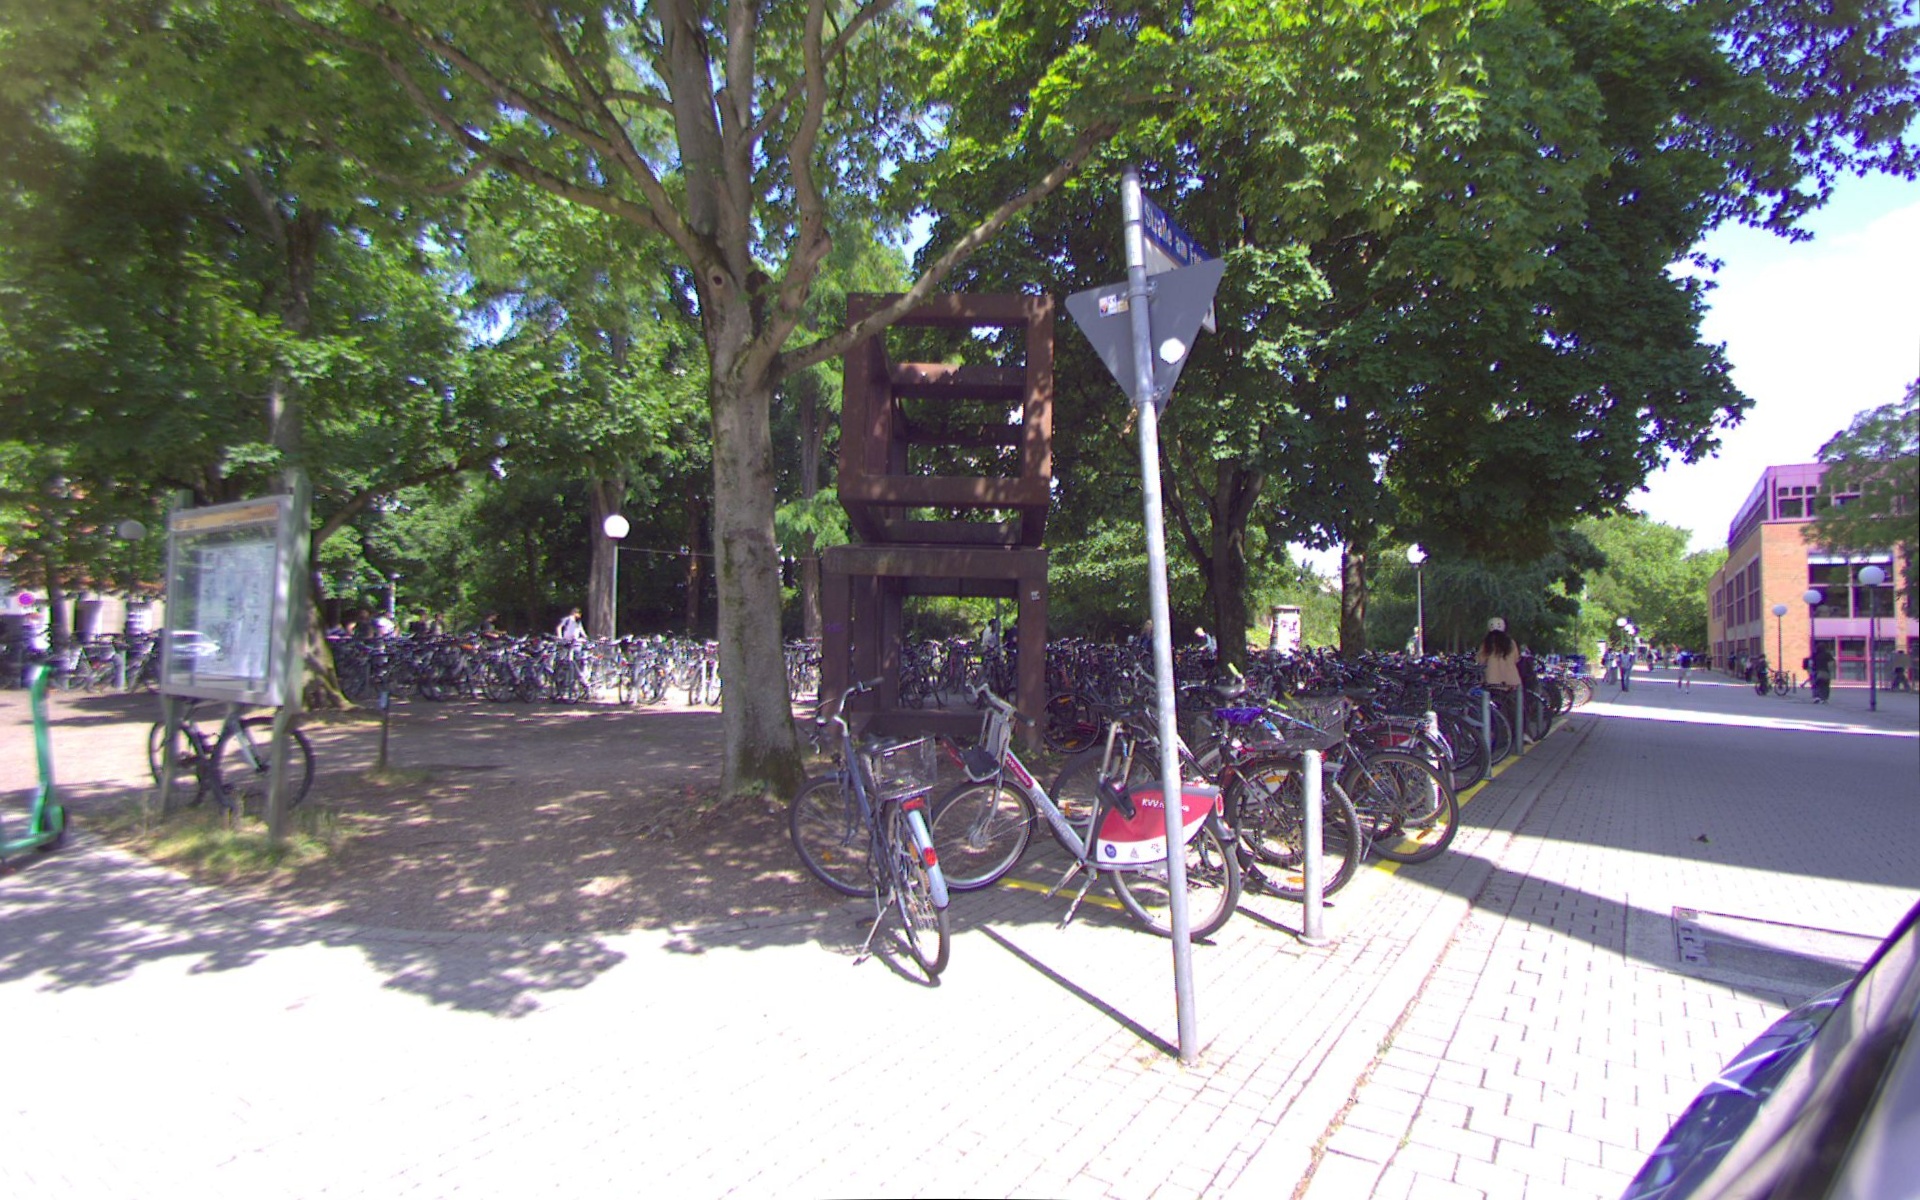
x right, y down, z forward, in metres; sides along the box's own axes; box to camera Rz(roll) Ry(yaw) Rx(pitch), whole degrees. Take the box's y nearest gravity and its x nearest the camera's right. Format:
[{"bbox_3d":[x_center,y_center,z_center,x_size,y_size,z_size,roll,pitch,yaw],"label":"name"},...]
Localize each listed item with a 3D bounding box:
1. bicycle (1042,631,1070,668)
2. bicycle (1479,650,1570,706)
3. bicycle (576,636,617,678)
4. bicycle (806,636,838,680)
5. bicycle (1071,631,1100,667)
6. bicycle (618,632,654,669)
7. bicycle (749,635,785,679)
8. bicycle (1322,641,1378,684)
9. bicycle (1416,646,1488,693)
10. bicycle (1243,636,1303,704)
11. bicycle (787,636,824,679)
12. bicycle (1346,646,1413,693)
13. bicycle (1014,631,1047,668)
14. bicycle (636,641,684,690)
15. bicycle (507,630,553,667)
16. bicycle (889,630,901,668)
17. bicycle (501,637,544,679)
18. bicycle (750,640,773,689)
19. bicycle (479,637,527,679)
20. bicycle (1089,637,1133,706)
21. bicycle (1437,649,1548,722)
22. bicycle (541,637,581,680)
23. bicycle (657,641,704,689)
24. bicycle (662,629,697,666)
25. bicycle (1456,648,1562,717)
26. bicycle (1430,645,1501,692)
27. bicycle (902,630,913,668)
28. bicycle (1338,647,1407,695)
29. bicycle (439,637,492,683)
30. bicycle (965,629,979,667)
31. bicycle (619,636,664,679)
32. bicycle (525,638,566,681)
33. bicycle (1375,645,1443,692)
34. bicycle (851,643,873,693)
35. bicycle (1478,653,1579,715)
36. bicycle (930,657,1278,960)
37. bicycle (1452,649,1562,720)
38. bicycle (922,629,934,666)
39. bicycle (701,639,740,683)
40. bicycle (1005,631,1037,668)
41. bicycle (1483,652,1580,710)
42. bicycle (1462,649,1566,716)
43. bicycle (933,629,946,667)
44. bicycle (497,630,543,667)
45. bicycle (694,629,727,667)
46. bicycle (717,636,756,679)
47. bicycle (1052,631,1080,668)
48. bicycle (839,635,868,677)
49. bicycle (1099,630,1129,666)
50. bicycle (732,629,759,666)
[{"bbox_3d":[2.990,1.534,31.703,0.341,1.107,1.614,0,-1,-14],"label":"bicycle"},{"bbox_3d":[12.020,1.656,21.595,1.674,1.098,0.473,1,-4,31],"label":"bicycle"},{"bbox_3d":[-9.141,1.414,25.475,0.469,0.991,1.905,0,-1,-4],"label":"bicycle"},{"bbox_3d":[-3.373,1.405,24.843,0.372,0.991,1.901,0,-1,5],"label":"bicycle"},{"bbox_3d":[3.933,1.526,31.832,0.341,1.107,1.614,0,-1,-14],"label":"bicycle"},{"bbox_3d":[-10.009,1.552,31.296,0.470,1.107,1.608,0,-1,6],"label":"bicycle"},{"bbox_3d":[-4.730,1.382,24.889,0.372,0.991,1.901,0,-1,5],"label":"bicycle"},{"bbox_3d":[10.529,1.679,27.374,0.468,1.098,1.691,4,-4,-16],"label":"bicycle"},{"bbox_3d":[12.166,1.698,25.060,0.469,1.098,1.690,4,-4,-23],"label":"bicycle"},{"bbox_3d":[5.742,1.257,18.627,0.405,1.185,1.846,1,-2,-4],"label":"bicycle"},{"bbox_3d":[-3.781,1.393,24.890,0.470,0.991,1.901,0,-1,5],"label":"bicycle"},{"bbox_3d":[10.402,1.709,25.145,0.469,1.098,1.690,4,-4,-23],"label":"bicycle"},{"bbox_3d":[2.197,1.539,31.691,0.341,1.107,1.614,1,-2,-22],"label":"bicycle"},{"bbox_3d":[-6.644,1.435,22.496,0.372,0.991,1.901,0,-1,5],"label":"bicycle"},{"bbox_3d":[-13.475,1.509,31.775,0.471,1.107,1.748,0,-1,9],"label":"bicycle"},{"bbox_3d":[-1.982,1.478,31.003,0.341,1.107,1.611,0,-1,-3],"label":"bicycle"},{"bbox_3d":[-11.032,1.437,25.573,0.371,0.991,1.905,0,-1,-4],"label":"bicycle"},{"bbox_3d":[-4.393,1.404,22.392,0.370,0.991,1.907,0,-1,-15],"label":"bicycle"},{"bbox_3d":[-11.469,1.433,25.435,0.469,0.991,1.905,0,-1,-4],"label":"bicycle"},{"bbox_3d":[2.755,1.285,18.598,0.405,1.185,1.846,1,-2,-4],"label":"bicycle"},{"bbox_3d":[9.197,1.464,17.500,1.674,1.144,0.449,1,-4,31],"label":"bicycle"},{"bbox_3d":[-9.847,1.433,25.030,0.371,0.991,1.905,0,-1,-4],"label":"bicycle"},{"bbox_3d":[-6.225,1.420,22.606,0.372,0.991,1.901,0,-1,5],"label":"bicycle"},{"bbox_3d":[-8.625,1.456,31.162,0.470,1.107,1.608,0,-1,6],"label":"bicycle"},{"bbox_3d":[9.932,1.488,18.339,1.674,1.144,0.473,1,-4,31],"label":"bicycle"},{"bbox_3d":[12.592,1.693,25.252,0.469,1.098,1.690,4,-4,-23],"label":"bicycle"},{"bbox_3d":[-1.604,1.476,30.995,0.341,1.107,1.611,0,-1,-3],"label":"bicycle"},{"bbox_3d":[10.063,1.717,24.726,0.469,1.098,1.690,4,-4,-23],"label":"bicycle"},{"bbox_3d":[-11.413,1.366,23.406,0.469,0.991,1.905,0,-1,-7],"label":"bicycle"},{"bbox_3d":[0.376,1.469,31.288,0.341,1.107,1.611,0,-1,-3],"label":"bicycle"},{"bbox_3d":[-7.860,1.406,25.055,0.372,0.991,1.901,0,-1,5],"label":"bicycle"},{"bbox_3d":[-10.257,1.448,25.072,0.371,0.991,1.905,0,-1,-4],"label":"bicycle"},{"bbox_3d":[11.213,1.701,25.325,0.469,1.098,1.690,4,-4,-23],"label":"bicycle"},{"bbox_3d":[-2.183,1.493,22.544,0.469,1.036,1.744,0,-1,-6],"label":"bicycle"},{"bbox_3d":[10.994,1.615,19.603,1.674,1.098,0.473,1,-4,31],"label":"bicycle"},{"bbox_3d":[0.629,0.859,4.645,1.478,1.156,0.555,-2,-2,33],"label":"bicycle"},{"bbox_3d":[9.629,1.475,17.845,1.674,1.144,0.473,1,-4,31],"label":"bicycle"},{"bbox_3d":[-1.008,1.467,31.434,0.341,1.107,1.611,0,-1,-3],"label":"bicycle"},{"bbox_3d":[-5.871,1.484,24.924,0.372,0.991,1.901,0,-1,5],"label":"bicycle"},{"bbox_3d":[1.881,1.543,31.554,0.341,1.107,1.614,1,-2,-22],"label":"bicycle"},{"bbox_3d":[11.751,1.659,20.854,1.668,1.098,0.475,1,-4,22],"label":"bicycle"},{"bbox_3d":[10.289,1.518,18.832,1.674,1.144,0.473,1,-4,31],"label":"bicycle"},{"bbox_3d":[-0.640,1.473,31.413,0.341,1.107,1.611,0,-1,-3],"label":"bicycle"},{"bbox_3d":[-13.814,1.510,31.828,0.471,1.107,1.748,0,-1,9],"label":"bicycle"},{"bbox_3d":[-7.615,1.456,30.960,0.470,1.107,1.608,0,-1,6],"label":"bicycle"},{"bbox_3d":[-5.455,1.391,24.772,0.372,0.991,1.901,0,-1,5],"label":"bicycle"},{"bbox_3d":[3.320,1.531,31.786,0.341,1.107,1.614,0,-1,-14],"label":"bicycle"},{"bbox_3d":[-2.620,1.362,24.964,0.372,0.991,1.901,0,-1,5],"label":"bicycle"},{"bbox_3d":[4.907,1.513,32.298,0.341,1.107,1.614,0,-1,-14],"label":"bicycle"},{"bbox_3d":[-6.584,1.447,31.119,0.342,1.107,1.608,0,-1,6],"label":"bicycle"}]
